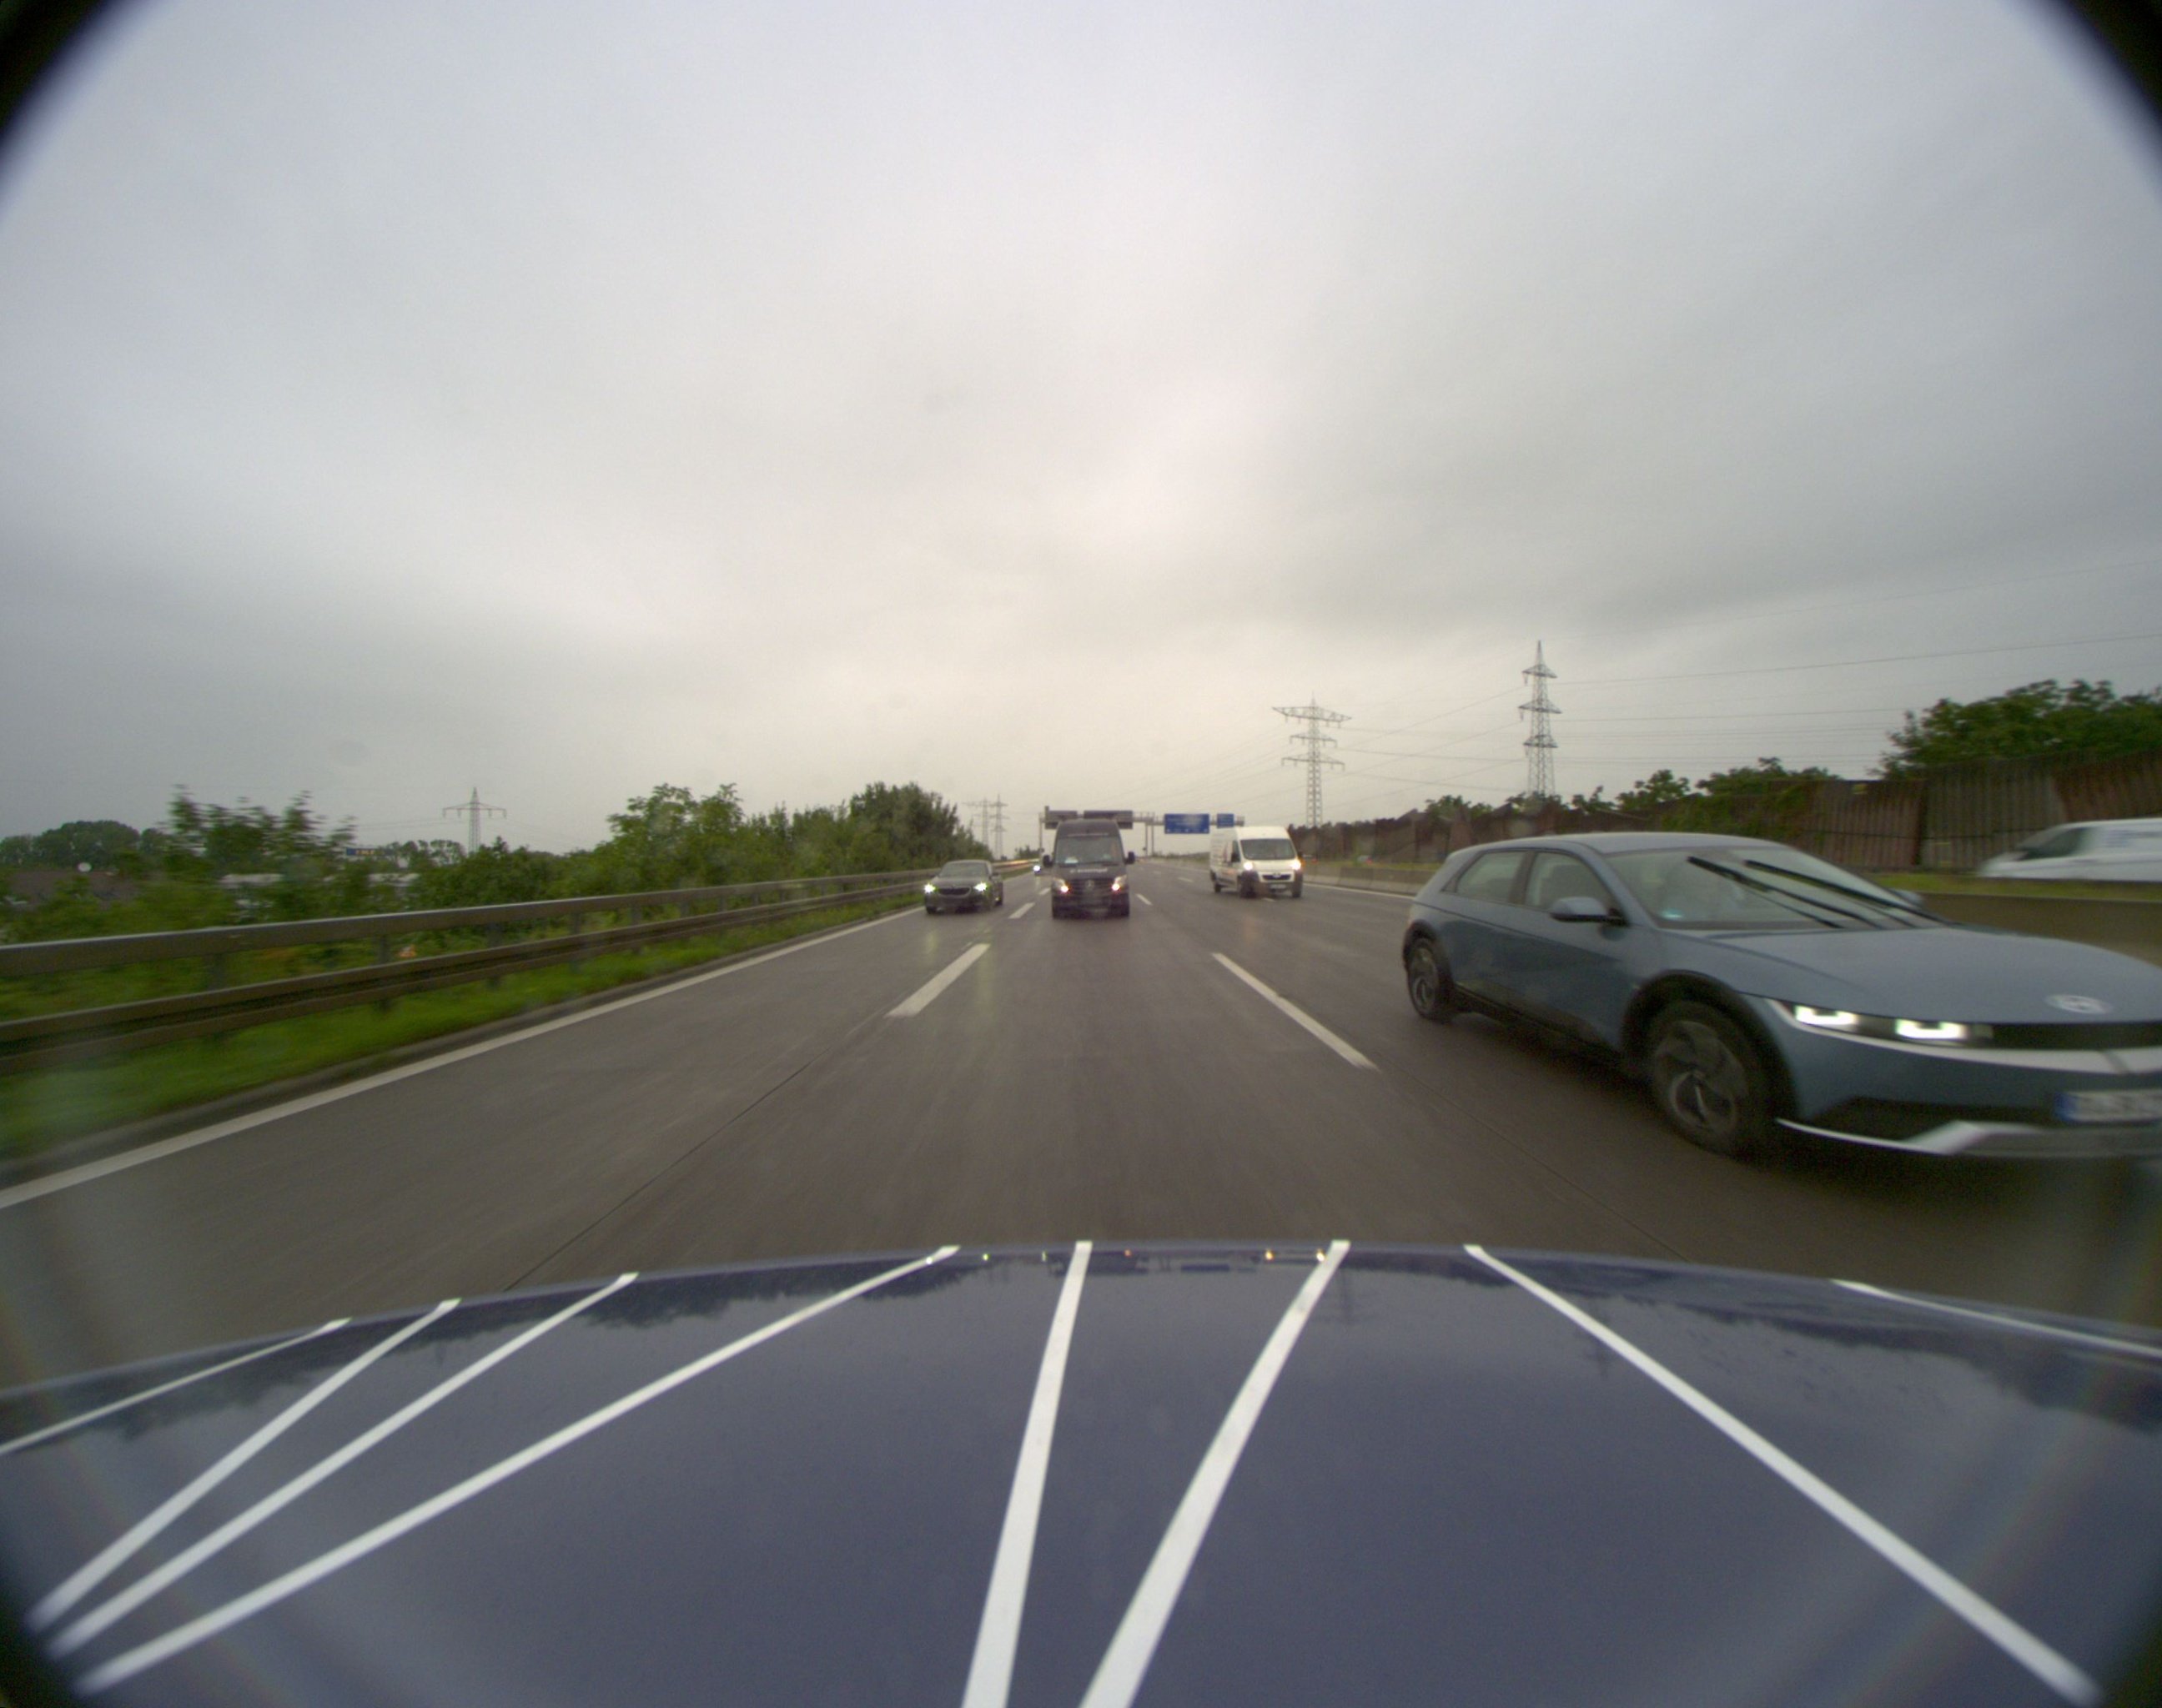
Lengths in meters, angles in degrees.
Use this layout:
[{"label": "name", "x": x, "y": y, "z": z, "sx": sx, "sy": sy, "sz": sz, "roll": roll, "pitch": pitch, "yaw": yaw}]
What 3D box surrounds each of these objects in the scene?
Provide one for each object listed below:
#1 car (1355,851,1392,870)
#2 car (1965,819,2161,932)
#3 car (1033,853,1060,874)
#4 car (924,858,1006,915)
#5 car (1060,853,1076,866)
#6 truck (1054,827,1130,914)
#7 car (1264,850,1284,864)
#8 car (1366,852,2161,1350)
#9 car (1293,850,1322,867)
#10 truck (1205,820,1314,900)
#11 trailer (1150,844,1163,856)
[{"label": "car", "x": 28.448, "y": 0.616, "z": 74.102, "sx": 1.998, "sy": 1.729, "sz": 4.264, "roll": -2, "pitch": 0, "yaw": 1}, {"label": "car", "x": 20.085, "y": 0.357, "z": 13.854, "sx": 1.998, "sy": 2.002, "sz": 5.133, "roll": -1, "pitch": 0, "yaw": 1}, {"label": "car", "x": -2.804, "y": 0.746, "z": 63.096, "sx": 1.998, "sy": 1.706, "sz": 4.000, "roll": 1, "pitch": 0, "yaw": 0}, {"label": "car", "x": -3.462, "y": 0.941, "z": 23.395, "sx": 1.862, "sy": 1.531, "sz": 4.203, "roll": -2, "pitch": 0, "yaw": -1}, {"label": "car", "x": -1.700, "y": 0.757, "z": 100.601, "sx": 1.998, "sy": 1.706, "sz": 4.000, "roll": 1, "pitch": 0, "yaw": 0}, {"label": "truck", "x": 0.219, "y": 0.424, "z": 23.459, "sx": 1.999, "sy": 2.324, "sz": 6.109, "roll": -1, "pitch": 1, "yaw": -1}, {"label": "car", "x": 28.846, "y": 0.428, "z": 113.410, "sx": 1.998, "sy": 2.002, "sz": 4.000, "roll": -1, "pitch": 0, "yaw": 1}, {"label": "car", "x": 3.821, "y": 0.820, "z": 5.105, "sx": 1.843, "sy": 1.585, "sz": 5.155, "roll": -2, "pitch": 0, "yaw": 0}, {"label": "car", "x": 24.638, "y": 0.510, "z": 82.770, "sx": 1.998, "sy": 1.729, "sz": 4.264, "roll": -2, "pitch": 0, "yaw": 1}, {"label": "truck", "x": 6.267, "y": 0.183, "z": 27.683, "sx": 2.243, "sy": 2.464, "sz": 6.582, "roll": -2, "pitch": 0, "yaw": -1}, {"label": "trailer", "x": 26.738, "y": -1.309, "z": 268.600, "sx": 3.064, "sy": 4.162, "sz": 13.569, "roll": -2, "pitch": 0, "yaw": 0}]
